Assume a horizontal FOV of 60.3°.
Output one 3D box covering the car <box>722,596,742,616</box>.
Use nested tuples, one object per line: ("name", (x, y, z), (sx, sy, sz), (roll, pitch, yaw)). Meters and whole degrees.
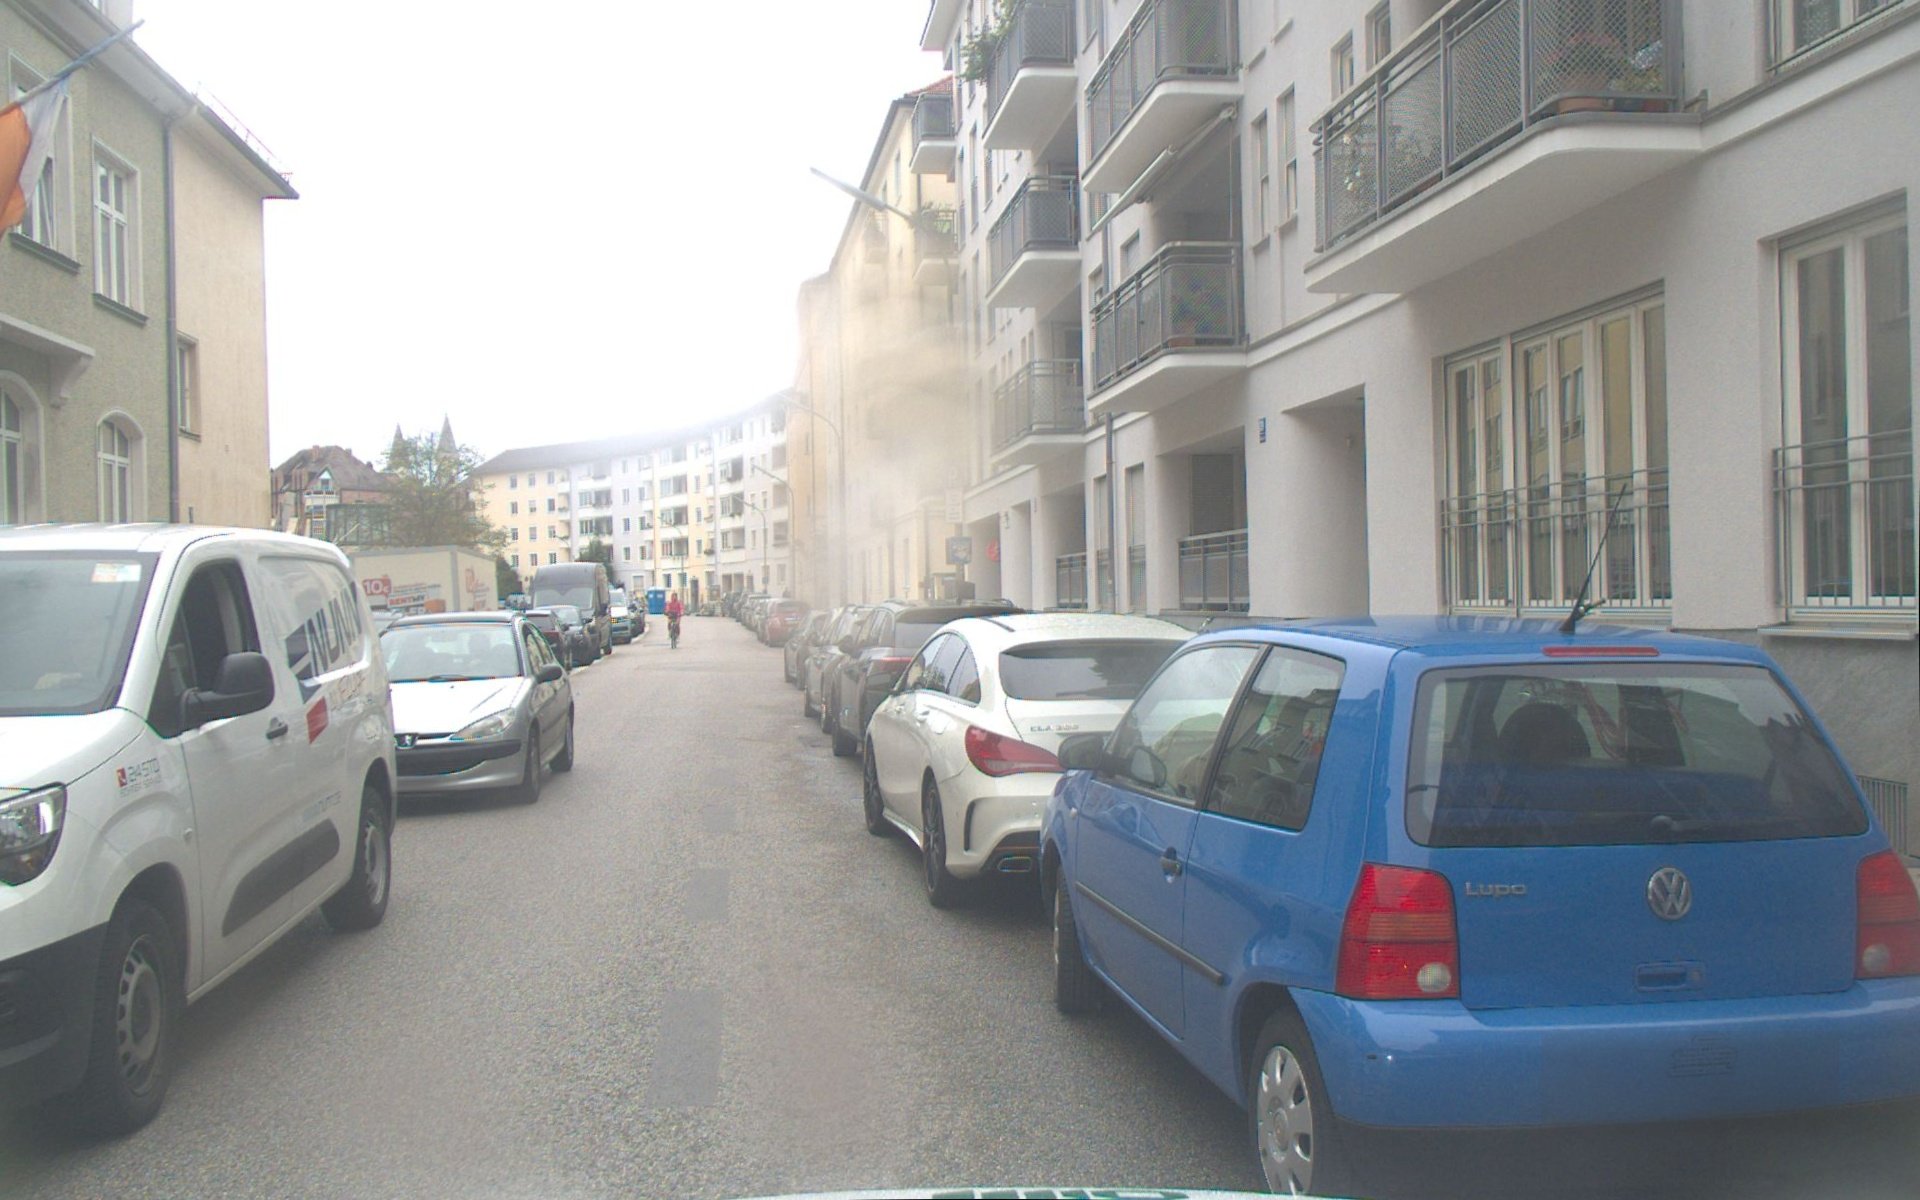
("car", (-15.213, 0.377, 110.220), (1.249, 1.321, 2.791), (-1, 0, -10))

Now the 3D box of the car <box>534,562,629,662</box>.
("car", (-10.842, 0.295, 47.718), (2.048, 2.682, 5.369), (-1, 1, -7))

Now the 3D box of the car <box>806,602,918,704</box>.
("car", (-1.655, 0.810, 27.030), (1.491, 1.557, 3.519), (0, 0, -9))

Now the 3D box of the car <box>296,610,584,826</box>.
("car", (-4.027, 0.832, 13.333), (1.551, 1.436, 3.606), (-2, 0, -7))

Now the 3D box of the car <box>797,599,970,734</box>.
("car", (-1.106, 0.785, 21.557), (1.702, 1.557, 4.611), (1, 0, -9))

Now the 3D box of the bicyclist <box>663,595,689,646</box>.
("bicyclist", (-8.969, 0.643, 52.322), (0.681, 1.589, 0.965), (-2, 0, -6))

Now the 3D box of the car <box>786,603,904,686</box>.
("car", (-2.232, 0.797, 31.124), (1.732, 1.432, 4.067), (-1, 0, -11))

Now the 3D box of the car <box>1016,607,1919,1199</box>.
("car", (1.318, 0.757, 5.098), (1.589, 1.437, 3.545), (1, -1, -10))

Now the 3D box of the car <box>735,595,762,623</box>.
("car", (-12.725, 0.513, 99.226), (1.447, 1.669, 3.992), (0, 0, -10))

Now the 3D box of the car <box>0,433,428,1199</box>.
("car", (-3.265, 0.602, 5.837), (1.738, 1.835, 4.564), (-3, 0, -7))

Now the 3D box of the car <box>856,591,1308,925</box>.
("car", (0.437, 0.712, 9.477), (1.627, 1.465, 4.197), (1, 0, -9))

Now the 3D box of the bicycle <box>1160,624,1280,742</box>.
("bicycle", (2.835, 0.875, 18.262), (0.616, 1.180, 2.122), (-2, 0, -10))

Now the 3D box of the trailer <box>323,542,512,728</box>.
("trailer", (-8.195, 0.477, 25.377), (1.676, 2.504, 4.382), (-3, 1, -5))

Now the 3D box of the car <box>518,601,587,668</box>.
("car", (-10.273, 0.834, 41.844), (1.558, 1.565, 3.532), (-2, 1, -12))

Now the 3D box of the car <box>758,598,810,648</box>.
("car", (-5.841, 0.726, 54.667), (1.565, 1.535, 3.794), (-1, 0, -8))

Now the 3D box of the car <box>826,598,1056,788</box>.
("car", (-0.307, 0.780, 15.661), (1.574, 1.557, 3.975), (1, 0, -9))

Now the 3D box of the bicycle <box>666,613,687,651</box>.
("bicycle", (-8.953, 1.005, 52.292), (0.494, 1.148, 1.771), (-2, 0, -6))

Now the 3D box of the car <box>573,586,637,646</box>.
("car", (-12.852, 0.535, 60.148), (1.848, 1.965, 4.593), (-3, 1, -8))

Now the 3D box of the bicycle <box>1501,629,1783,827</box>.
("bicycle", (3.987, 0.714, 9.844), (0.665, 1.046, 1.830), (-1, -2, -9))

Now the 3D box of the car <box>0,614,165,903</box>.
("car", (-5.945, 0.878, 9.623), (1.446, 1.492, 3.306), (-3, 0, -10))

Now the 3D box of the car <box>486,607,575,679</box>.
("car", (-9.730, 0.930, 37.671), (1.670, 1.471, 3.815), (-1, 1, -11))

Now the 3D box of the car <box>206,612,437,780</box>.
("car", (-7.361, 1.022, 19.448), (1.656, 1.630, 3.913), (-3, 1, -9))
